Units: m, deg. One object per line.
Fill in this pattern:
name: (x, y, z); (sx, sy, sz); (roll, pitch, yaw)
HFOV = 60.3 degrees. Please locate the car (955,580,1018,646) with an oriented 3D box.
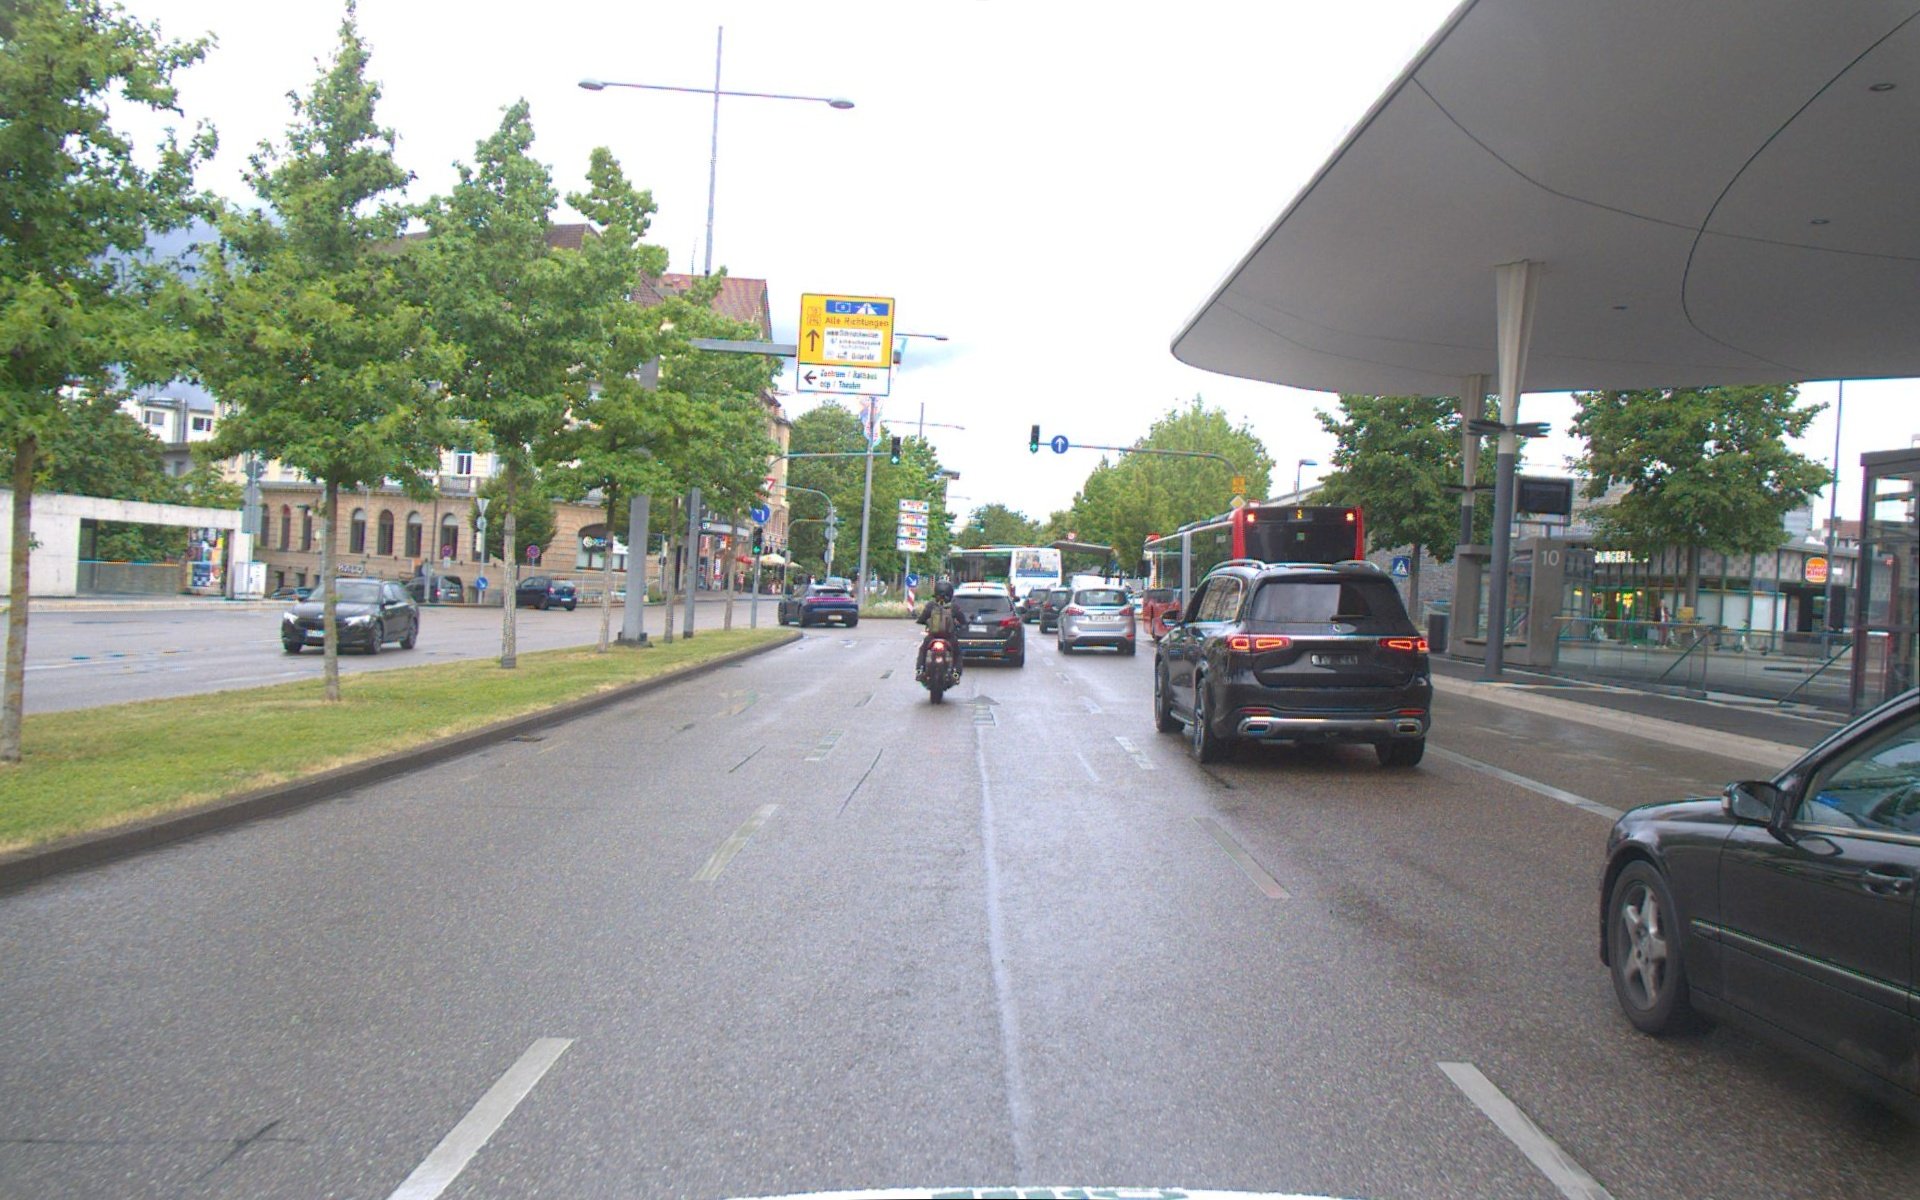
car: (0.657, 0.296, 42.336); (1.543, 1.594, 3.871); (0, 1, 0)

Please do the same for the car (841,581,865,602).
car: (-8.264, -0.645, 127.976); (1.543, 1.594, 3.430); (0, 1, 0)

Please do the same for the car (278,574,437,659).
car: (-12.176, 0.303, 33.730); (1.646, 1.554, 4.637); (2, 0, -2)

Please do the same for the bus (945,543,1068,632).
bus: (2.131, -0.632, 82.725); (2.791, 4.057, 11.815); (2, 0, -15)

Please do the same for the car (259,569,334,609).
car: (-34.494, -0.590, 85.936); (3.926, 1.713, 1.862); (4, -3, 40)

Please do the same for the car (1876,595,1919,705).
car: (15.594, 0.822, 24.423); (1.677, 1.691, 4.239); (3, 0, -1)

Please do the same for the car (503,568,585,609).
car: (-18.512, -0.528, 73.572); (3.642, 1.656, 1.830); (2, 0, 44)

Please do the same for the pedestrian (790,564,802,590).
pedestrian: (-12.823, -1.779, 129.377); (0.715, 2.000, 0.819); (1, 0, -26)

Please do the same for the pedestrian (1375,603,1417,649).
pedestrian: (10.266, 0.619, 38.942); (0.894, 1.002, 0.634); (3, -4, 14)

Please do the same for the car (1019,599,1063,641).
car: (3.177, 0.765, 65.293); (1.543, 1.594, 3.796); (0, 1, 0)

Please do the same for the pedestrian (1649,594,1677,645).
pedestrian: (23.603, 0.659, 55.551); (0.592, 1.605, 0.673); (5, -3, 6)

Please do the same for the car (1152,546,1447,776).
car: (3.114, 0.483, 16.220); (1.917, 1.908, 4.874); (0, 1, 0)

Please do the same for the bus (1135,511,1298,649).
bus: (6.865, -0.526, 45.695); (3.223, 3.346, 8.850); (1, 0, 1)

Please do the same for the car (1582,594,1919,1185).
car: (3.282, 0.759, 4.267); (1.663, 1.487, 4.303); (1, 1, -1)

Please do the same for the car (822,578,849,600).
car: (-9.192, -0.803, 122.050); (1.743, 1.594, 3.430); (0, 1, 0)

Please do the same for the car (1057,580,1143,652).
car: (3.245, 0.340, 38.966); (1.705, 1.594, 3.871); (0, 1, 0)

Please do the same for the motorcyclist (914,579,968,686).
motorcyclist: (-0.246, 0.423, 21.922); (0.628, 1.371, 0.689); (1, 0, 3)

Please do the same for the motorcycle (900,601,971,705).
motorcycle: (-0.304, 0.668, 21.748); (0.776, 1.284, 1.856); (1, 0, 4)

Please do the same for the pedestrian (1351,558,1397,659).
pedestrian: (8.777, 0.181, 35.061); (0.761, 2.048, 0.782); (5, 0, 13)

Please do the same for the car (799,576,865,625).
car: (-4.286, -0.007, 56.007); (1.778, 1.598, 4.404); (0, 1, 1)

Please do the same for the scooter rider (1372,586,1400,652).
scooter rider: (10.036, 0.454, 38.995); (0.579, 1.516, 0.765); (2, -1, 14)

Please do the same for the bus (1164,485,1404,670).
bus: (6.678, -0.454, 36.112); (3.218, 3.349, 10.879); (1, 0, 1)

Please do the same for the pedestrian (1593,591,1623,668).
pedestrian: (14.568, 0.666, 37.180); (0.563, 1.707, 0.582); (1, -1, 26)

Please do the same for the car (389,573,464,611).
car: (-27.315, -0.429, 84.599); (2.101, 1.807, 4.326); (1, 0, -42)

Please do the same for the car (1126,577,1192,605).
car: (11.344, -0.531, 94.551); (1.565, 1.594, 3.744); (0, 1, -38)

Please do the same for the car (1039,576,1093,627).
car: (3.407, 0.030, 53.603); (1.543, 1.594, 3.871); (0, 1, 0)

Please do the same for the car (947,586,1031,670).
car: (0.572, 0.498, 32.348); (1.543, 1.531, 3.872); (0, 1, 1)
